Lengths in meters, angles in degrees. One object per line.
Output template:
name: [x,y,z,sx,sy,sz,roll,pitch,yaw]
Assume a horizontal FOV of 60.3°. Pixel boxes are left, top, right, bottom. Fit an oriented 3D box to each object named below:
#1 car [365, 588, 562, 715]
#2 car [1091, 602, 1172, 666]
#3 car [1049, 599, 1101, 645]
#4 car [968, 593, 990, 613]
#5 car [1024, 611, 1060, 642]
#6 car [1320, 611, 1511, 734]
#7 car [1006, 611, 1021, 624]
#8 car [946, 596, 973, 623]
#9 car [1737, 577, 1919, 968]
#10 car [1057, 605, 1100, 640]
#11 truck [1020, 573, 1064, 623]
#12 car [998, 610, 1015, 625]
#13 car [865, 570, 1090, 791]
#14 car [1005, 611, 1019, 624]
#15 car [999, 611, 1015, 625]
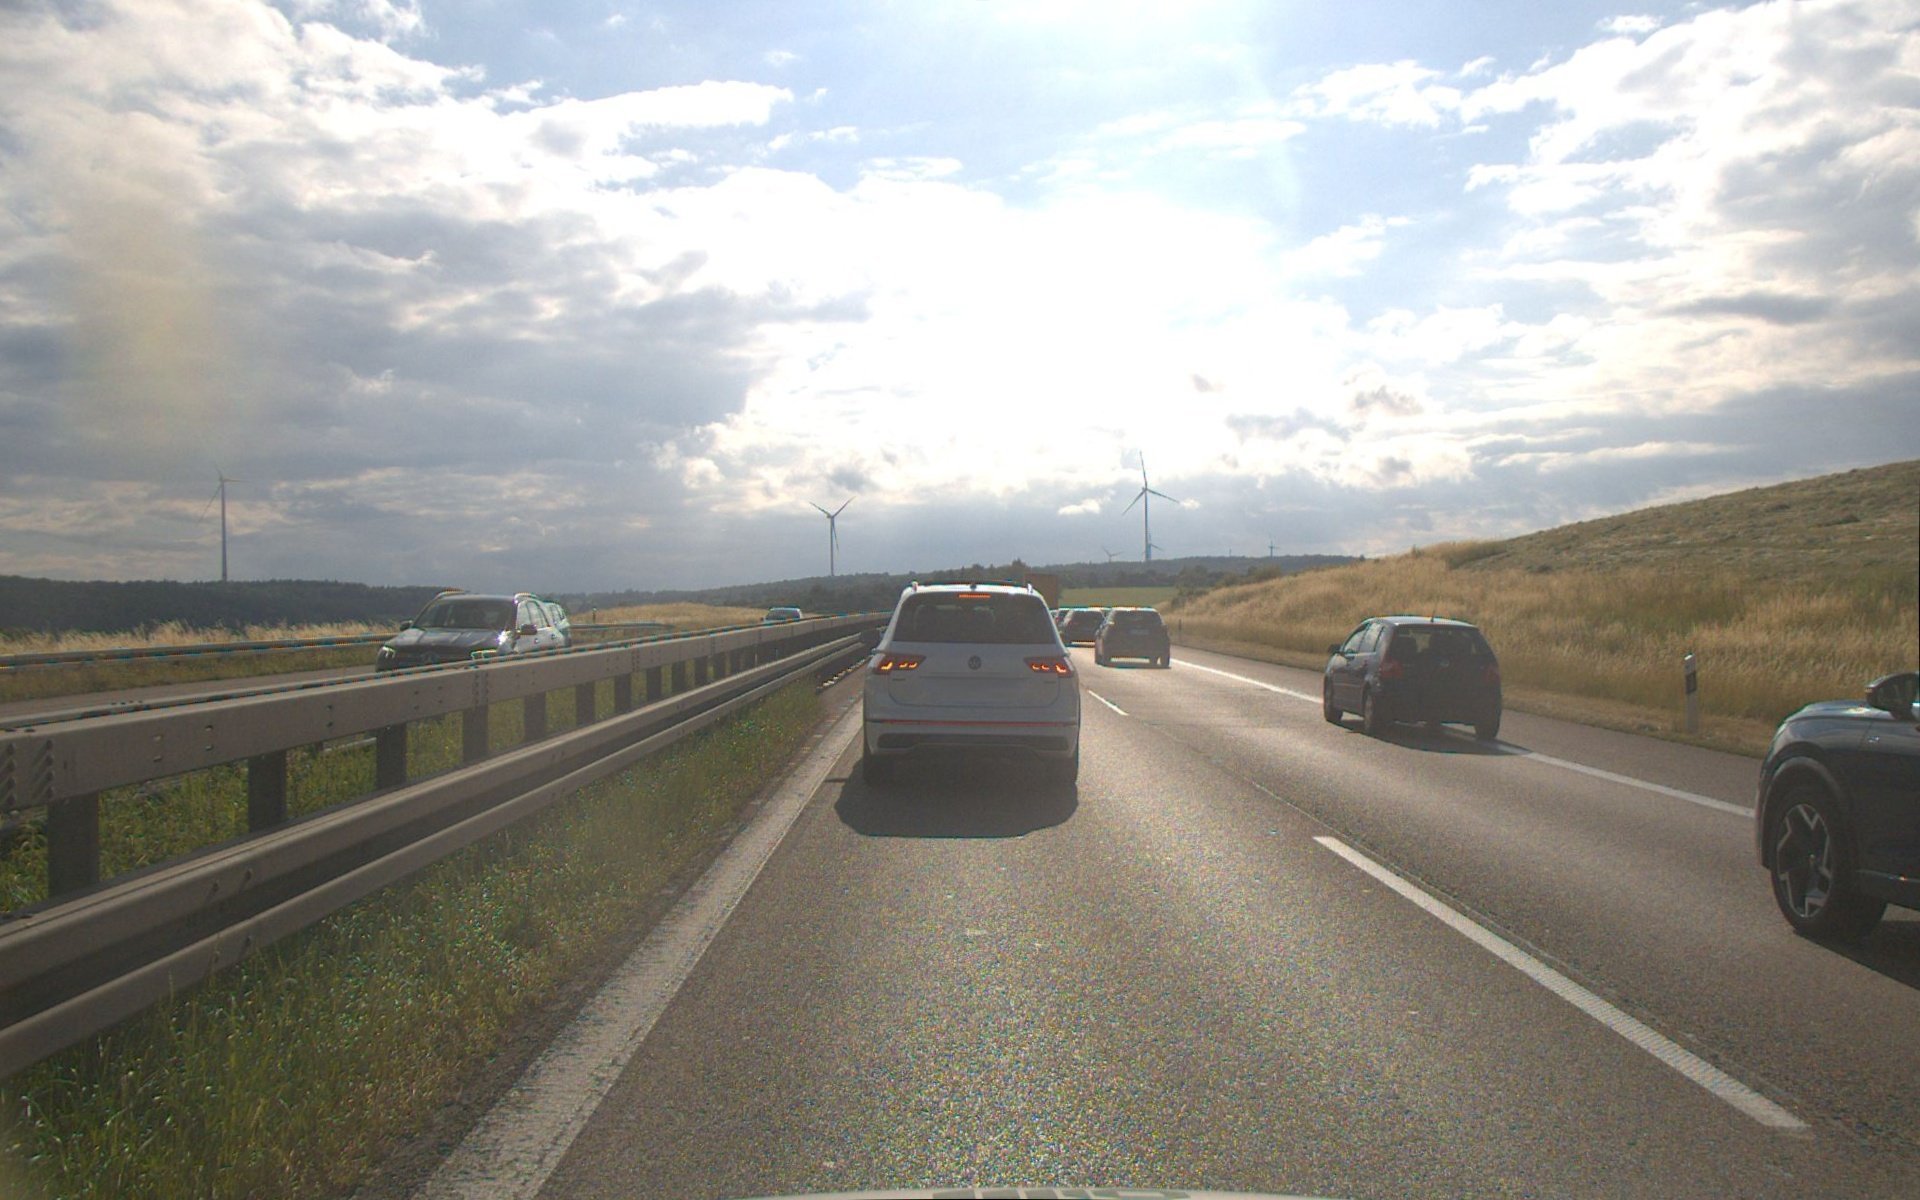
car: [-7.625,0.753,25.849,1.786,1.801,4.362,1,-1,-1]
car: [4.447,0.864,43.337,1.669,1.573,3.999,1,-1,-1]
car: [4.364,0.835,63.366,1.669,1.679,3.999,1,-1,-1]
car: [1.542,0.255,135.330,1.669,1.573,3.999,1,-1,-1]
car: [4.299,1.360,86.881,1.669,1.573,3.999,1,-1,-1]
car: [5.805,0.878,21.447,1.572,1.445,3.673,0,-1,2]
car: [6.635,2.180,206.814,1.669,1.573,3.999,1,-1,-1]
car: [-0.028,0.600,105.265,1.669,1.679,3.999,1,-1,-1]
car: [4.909,0.745,6.375,1.784,1.629,4.234,2,-1,0]
car: [5.480,1.042,76.670,1.669,1.573,3.999,1,-1,-1]
truck: [6.232,-0.194,127.570,3.118,3.656,11.132,0,0,1]
car: [4.924,1.904,175.995,1.669,1.573,3.999,1,-1,-1]
car: [0.121,0.641,14.835,1.734,1.705,3.999,1,-1,-1]
car: [6.730,2.234,213.042,1.669,1.573,3.999,1,-1,-1]
car: [5.350,2.004,187.403,1.669,1.573,3.999,1,-1,-1]
